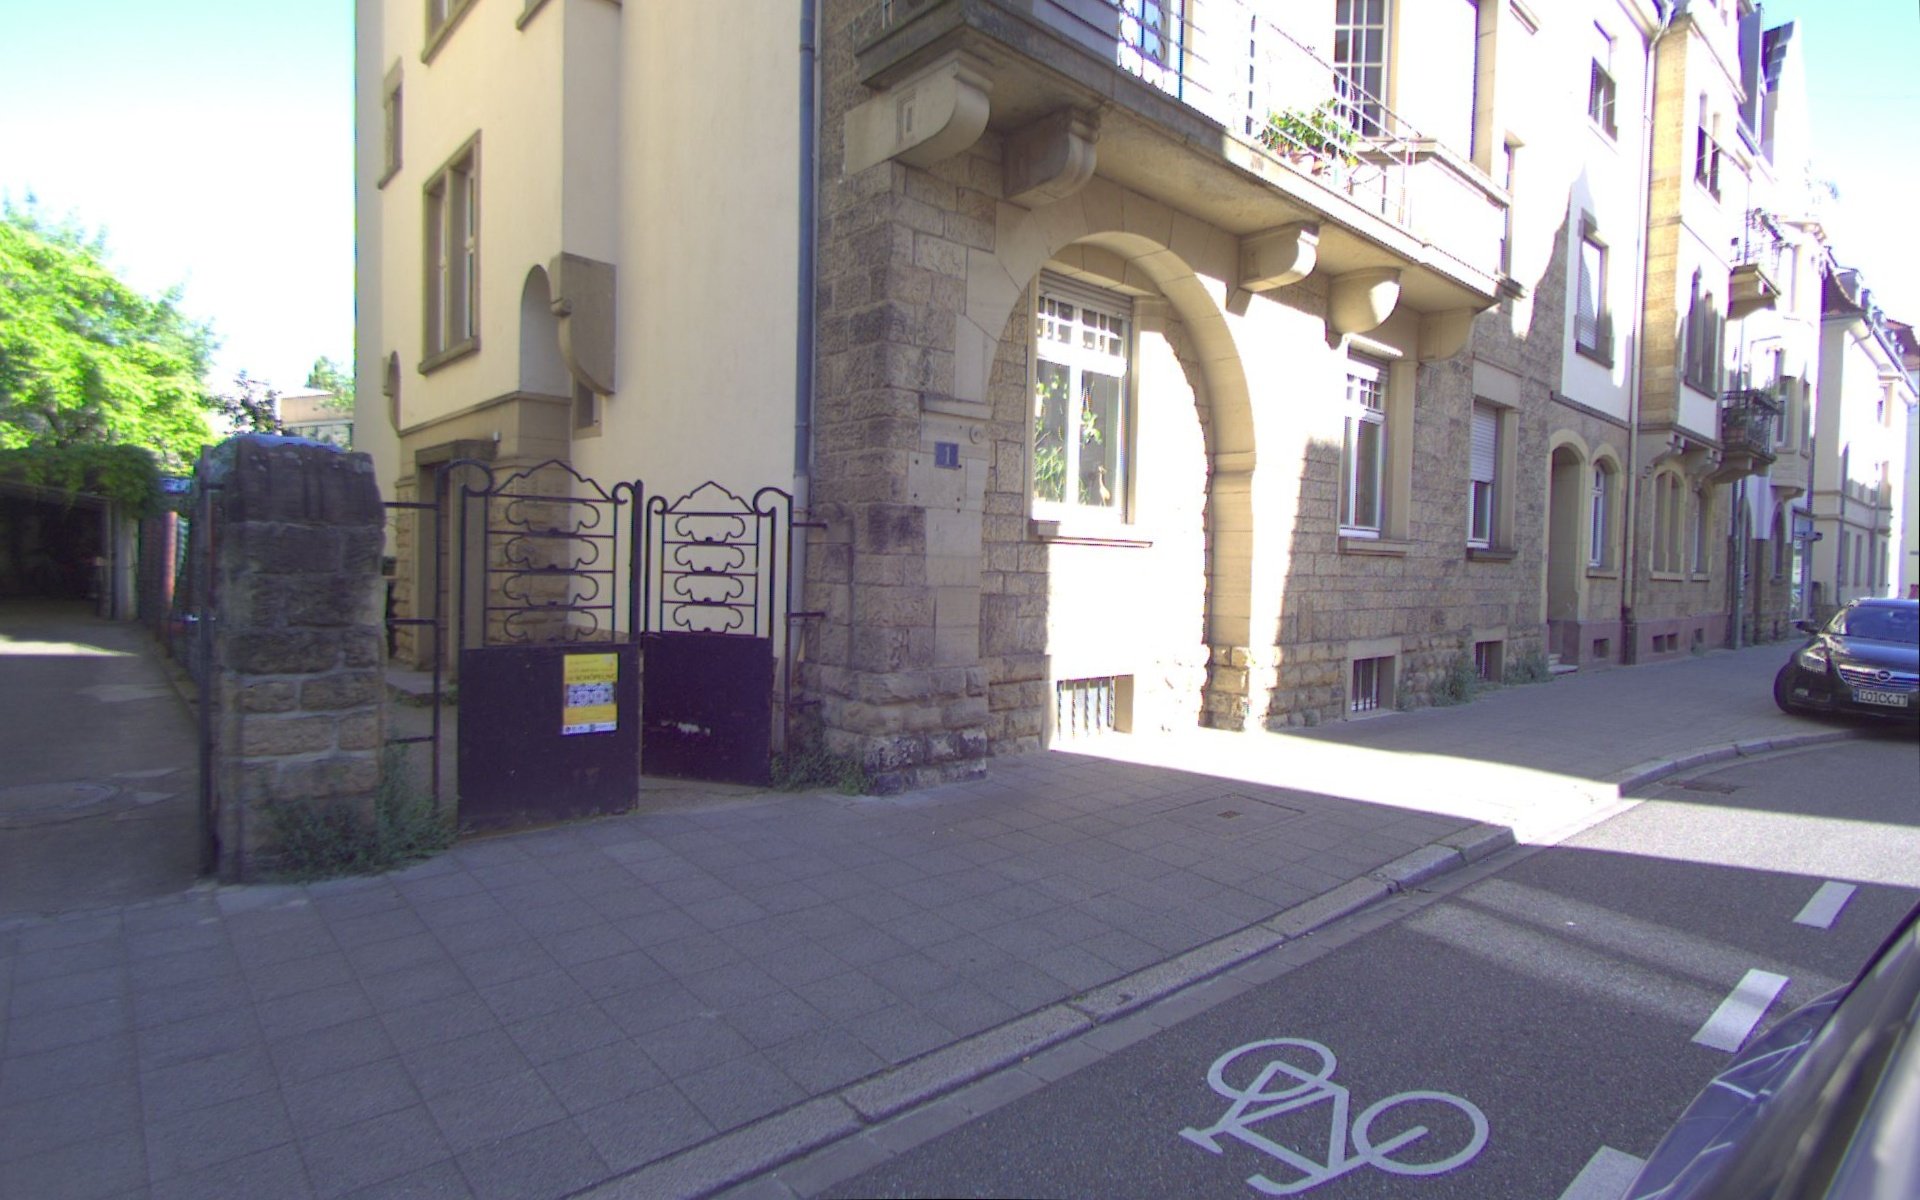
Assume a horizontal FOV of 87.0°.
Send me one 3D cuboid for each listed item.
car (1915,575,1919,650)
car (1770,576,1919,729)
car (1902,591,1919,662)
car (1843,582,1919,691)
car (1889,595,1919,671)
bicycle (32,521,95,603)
[{"bbox_3d":[26.222,0.338,26.041,4.247,1.860,2.004,-1,4,-42],"label":"car"},{"bbox_3d":[11.471,0.555,12.156,4.043,1.526,2.023,-1,5,-42],"label":"car"},{"bbox_3d":[22.159,0.583,22.184,4.247,1.440,1.823,-1,4,-42],"label":"car"},{"bbox_3d":[15.519,0.567,15.858,4.247,1.527,2.004,0,3,-42],"label":"car"},{"bbox_3d":[18.782,0.620,18.963,3.667,1.295,1.659,-1,4,-42],"label":"car"},{"bbox_3d":[-18.314,-0.810,20.716,0.903,1.530,2.672,0,4,-41],"label":"bicycle"}]
